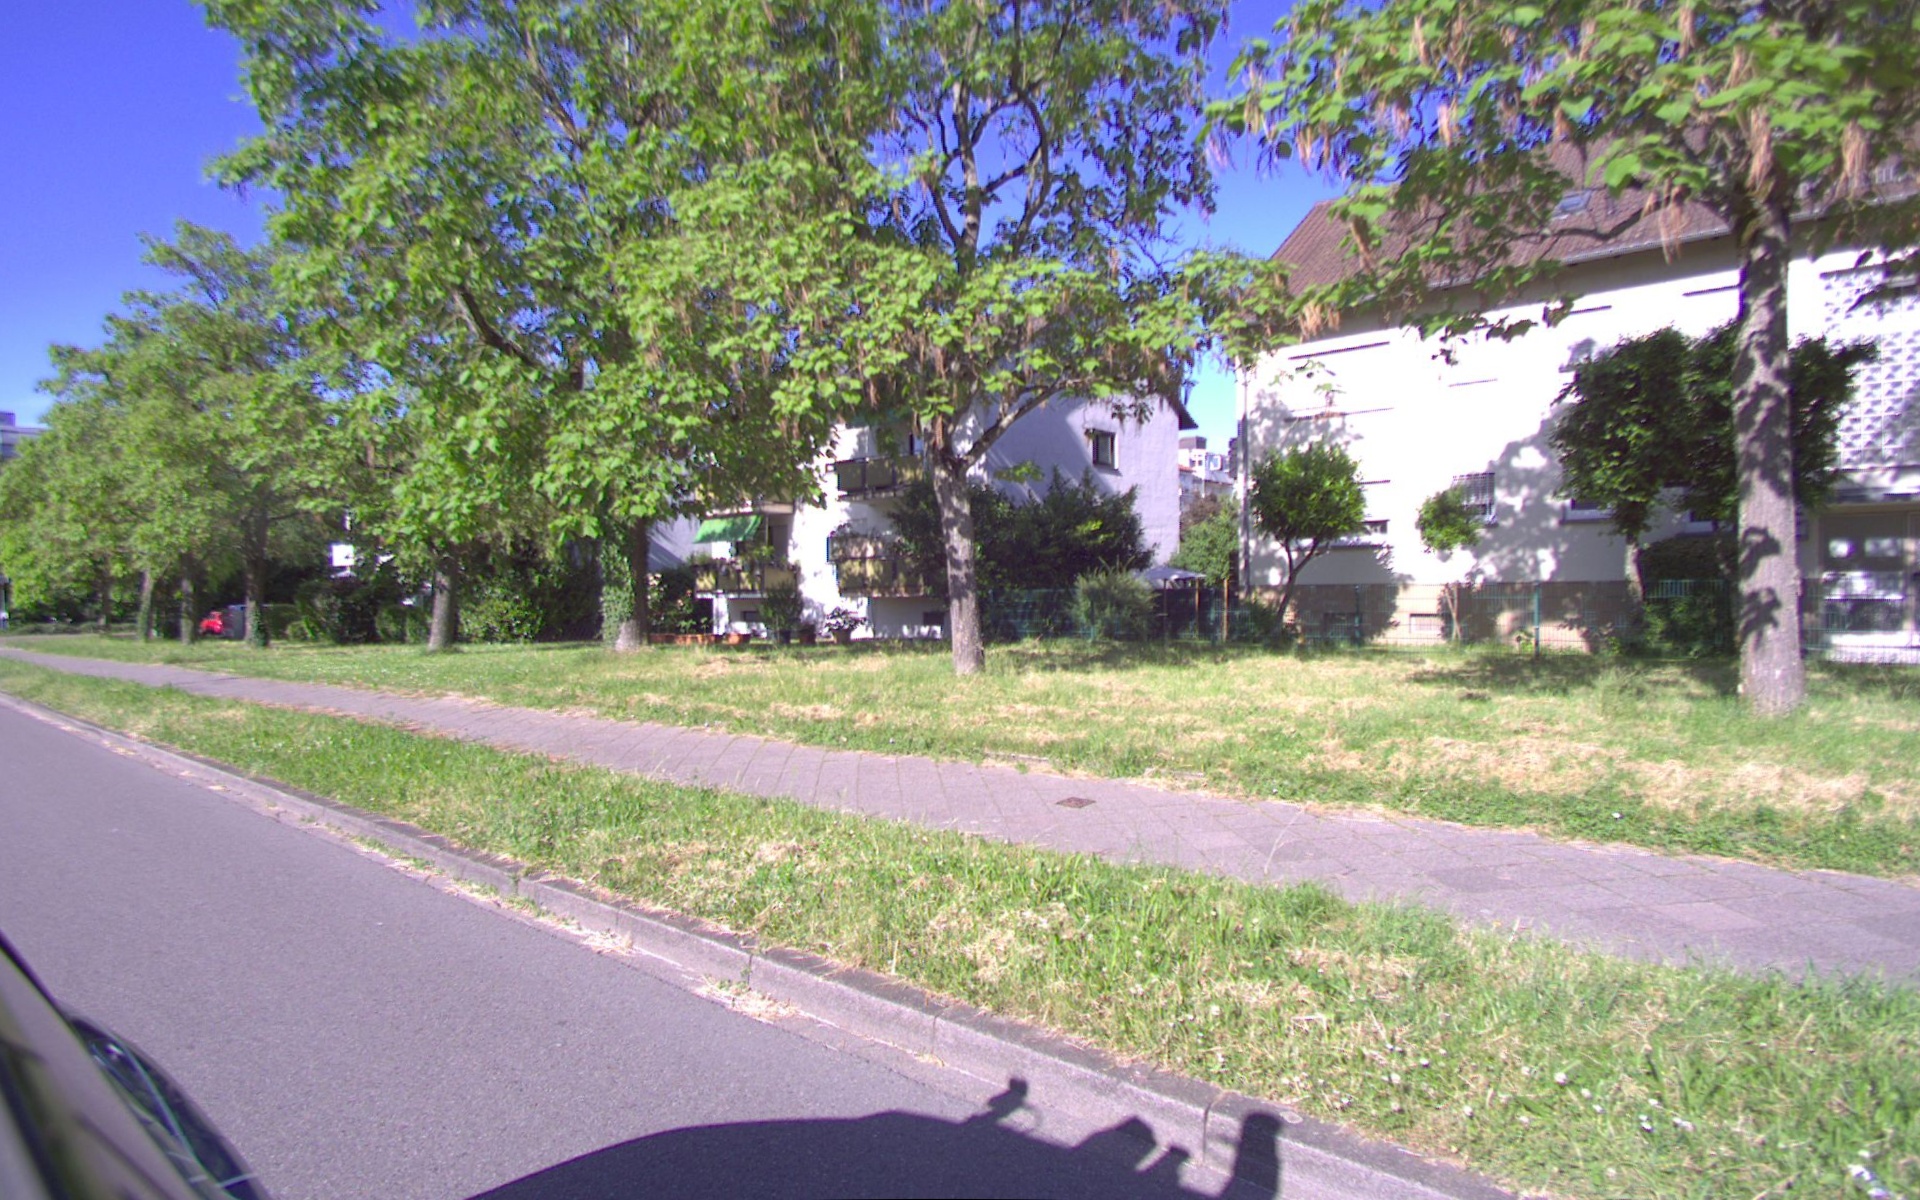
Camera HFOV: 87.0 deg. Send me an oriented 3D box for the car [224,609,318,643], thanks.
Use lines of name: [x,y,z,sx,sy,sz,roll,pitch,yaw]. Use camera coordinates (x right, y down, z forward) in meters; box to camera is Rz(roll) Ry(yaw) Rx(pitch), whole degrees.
car: [-41.804,1.563,61.486,2.069,1.984,4.402,-3,-2,43]

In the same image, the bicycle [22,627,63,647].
bicycle: [-57.887,2.318,63.869,1.875,1.161,0.762,-1,3,-40]

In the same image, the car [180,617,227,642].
car: [-49.388,1.907,66.051,3.882,1.498,1.653,1,1,40]
